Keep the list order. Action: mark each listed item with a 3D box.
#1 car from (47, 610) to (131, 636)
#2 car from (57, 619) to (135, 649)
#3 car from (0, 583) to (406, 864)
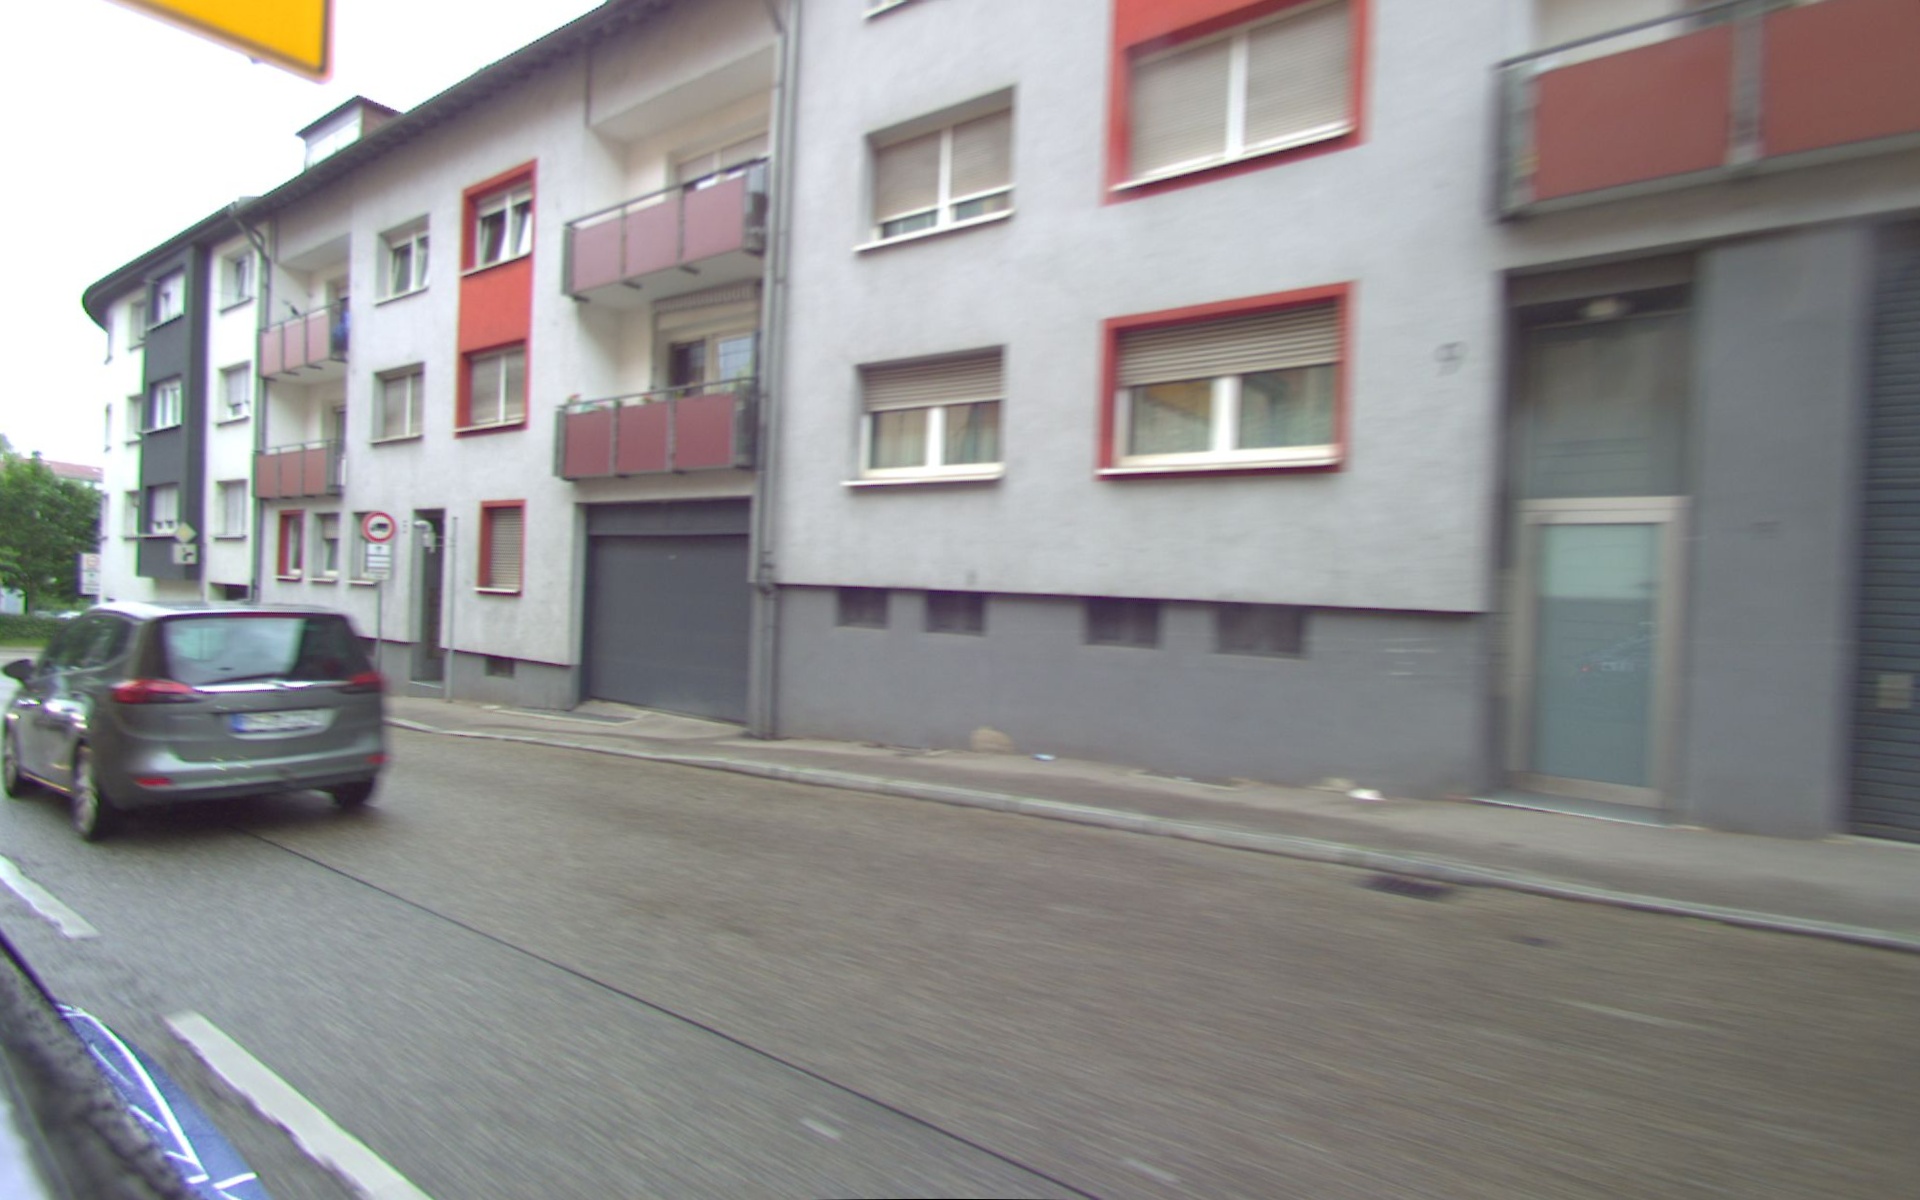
[{"bbox_3d":[-59.514,1.597,69.217,1.785,1.522,3.978,2,-4,17],"label":"car"},{"bbox_3d":[-55.027,2.151,64.436,4.173,1.634,1.629,2,-4,16],"label":"car"},{"bbox_3d":[-6.159,0.789,8.001,3.983,1.670,1.746,-1,-3,40],"label":"car"}]
